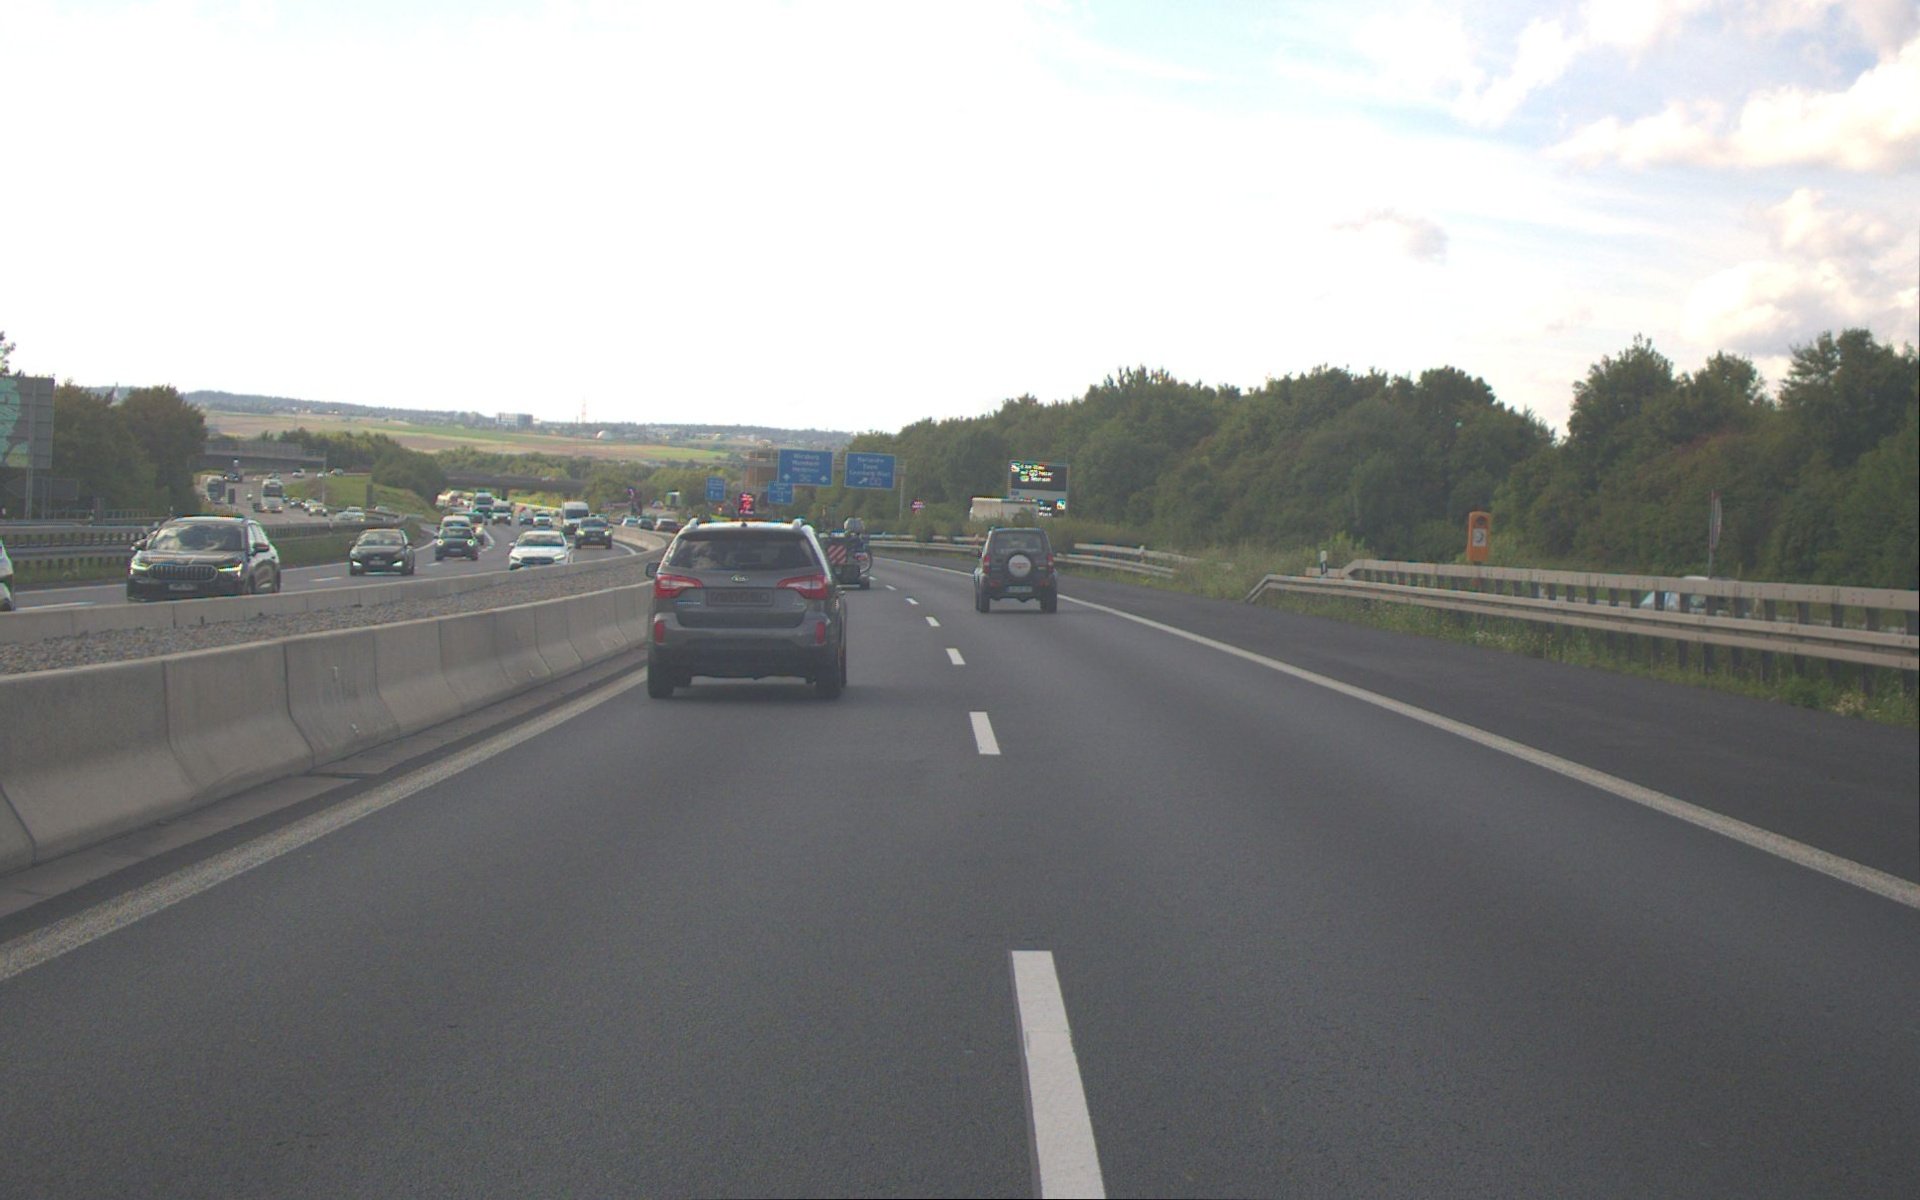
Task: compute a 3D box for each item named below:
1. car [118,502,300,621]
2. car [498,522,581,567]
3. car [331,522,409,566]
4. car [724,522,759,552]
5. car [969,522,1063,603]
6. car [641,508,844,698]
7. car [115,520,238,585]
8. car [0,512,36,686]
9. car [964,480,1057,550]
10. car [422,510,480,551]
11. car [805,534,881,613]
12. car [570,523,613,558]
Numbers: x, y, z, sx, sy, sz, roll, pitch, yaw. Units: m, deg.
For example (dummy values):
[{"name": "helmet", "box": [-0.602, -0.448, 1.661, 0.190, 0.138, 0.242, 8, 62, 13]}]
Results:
[{"name": "car", "box": [-11.857, -0.626, 54.591, 1.886, 1.779, 4.953, 1, 1, -1]}, {"name": "car", "box": [-12.909, -1.715, 105.814, 2.045, 1.333, 5.609, 1, 1, -2]}, {"name": "car", "box": [-18.627, -1.769, 108.704, 1.868, 1.333, 4.230, 1, 1, -2]}, {"name": "car", "box": [-12.919, -3.710, 203.262, 1.993, 1.678, 4.000, 1, 0, -4]}, {"name": "car", "box": [1.120, -0.795, 70.840, 1.587, 1.591, 4.096, 1, 1, -4]}, {"name": "car", "box": [-2.112, 0.009, 34.599, 1.817, 1.730, 5.187, 1, 0, -1]}, {"name": "car", "box": [-18.089, -1.113, 79.572, 1.886, 1.425, 4.578, 1, 1, -1]}, {"name": "car", "box": [-10.277, 0.000, 32.138, 1.886, 1.697, 4.966, 1, 1, 1]}, {"name": "car", "box": [3.315, -5.625, 230.061, 4.727, 4.251, 11.406, 1, 0, -7]}, {"name": "car", "box": [-21.946, -2.991, 148.279, 1.993, 1.685, 4.374, 1, 1, -2]}, {"name": "car", "box": [-3.293, -0.782, 97.391, 2.030, 2.144, 4.000, 1, 1, -1]}, {"name": "car", "box": [-20.619, -3.348, 192.565, 1.993, 1.913, 5.149, 2, 1, -2]}]
